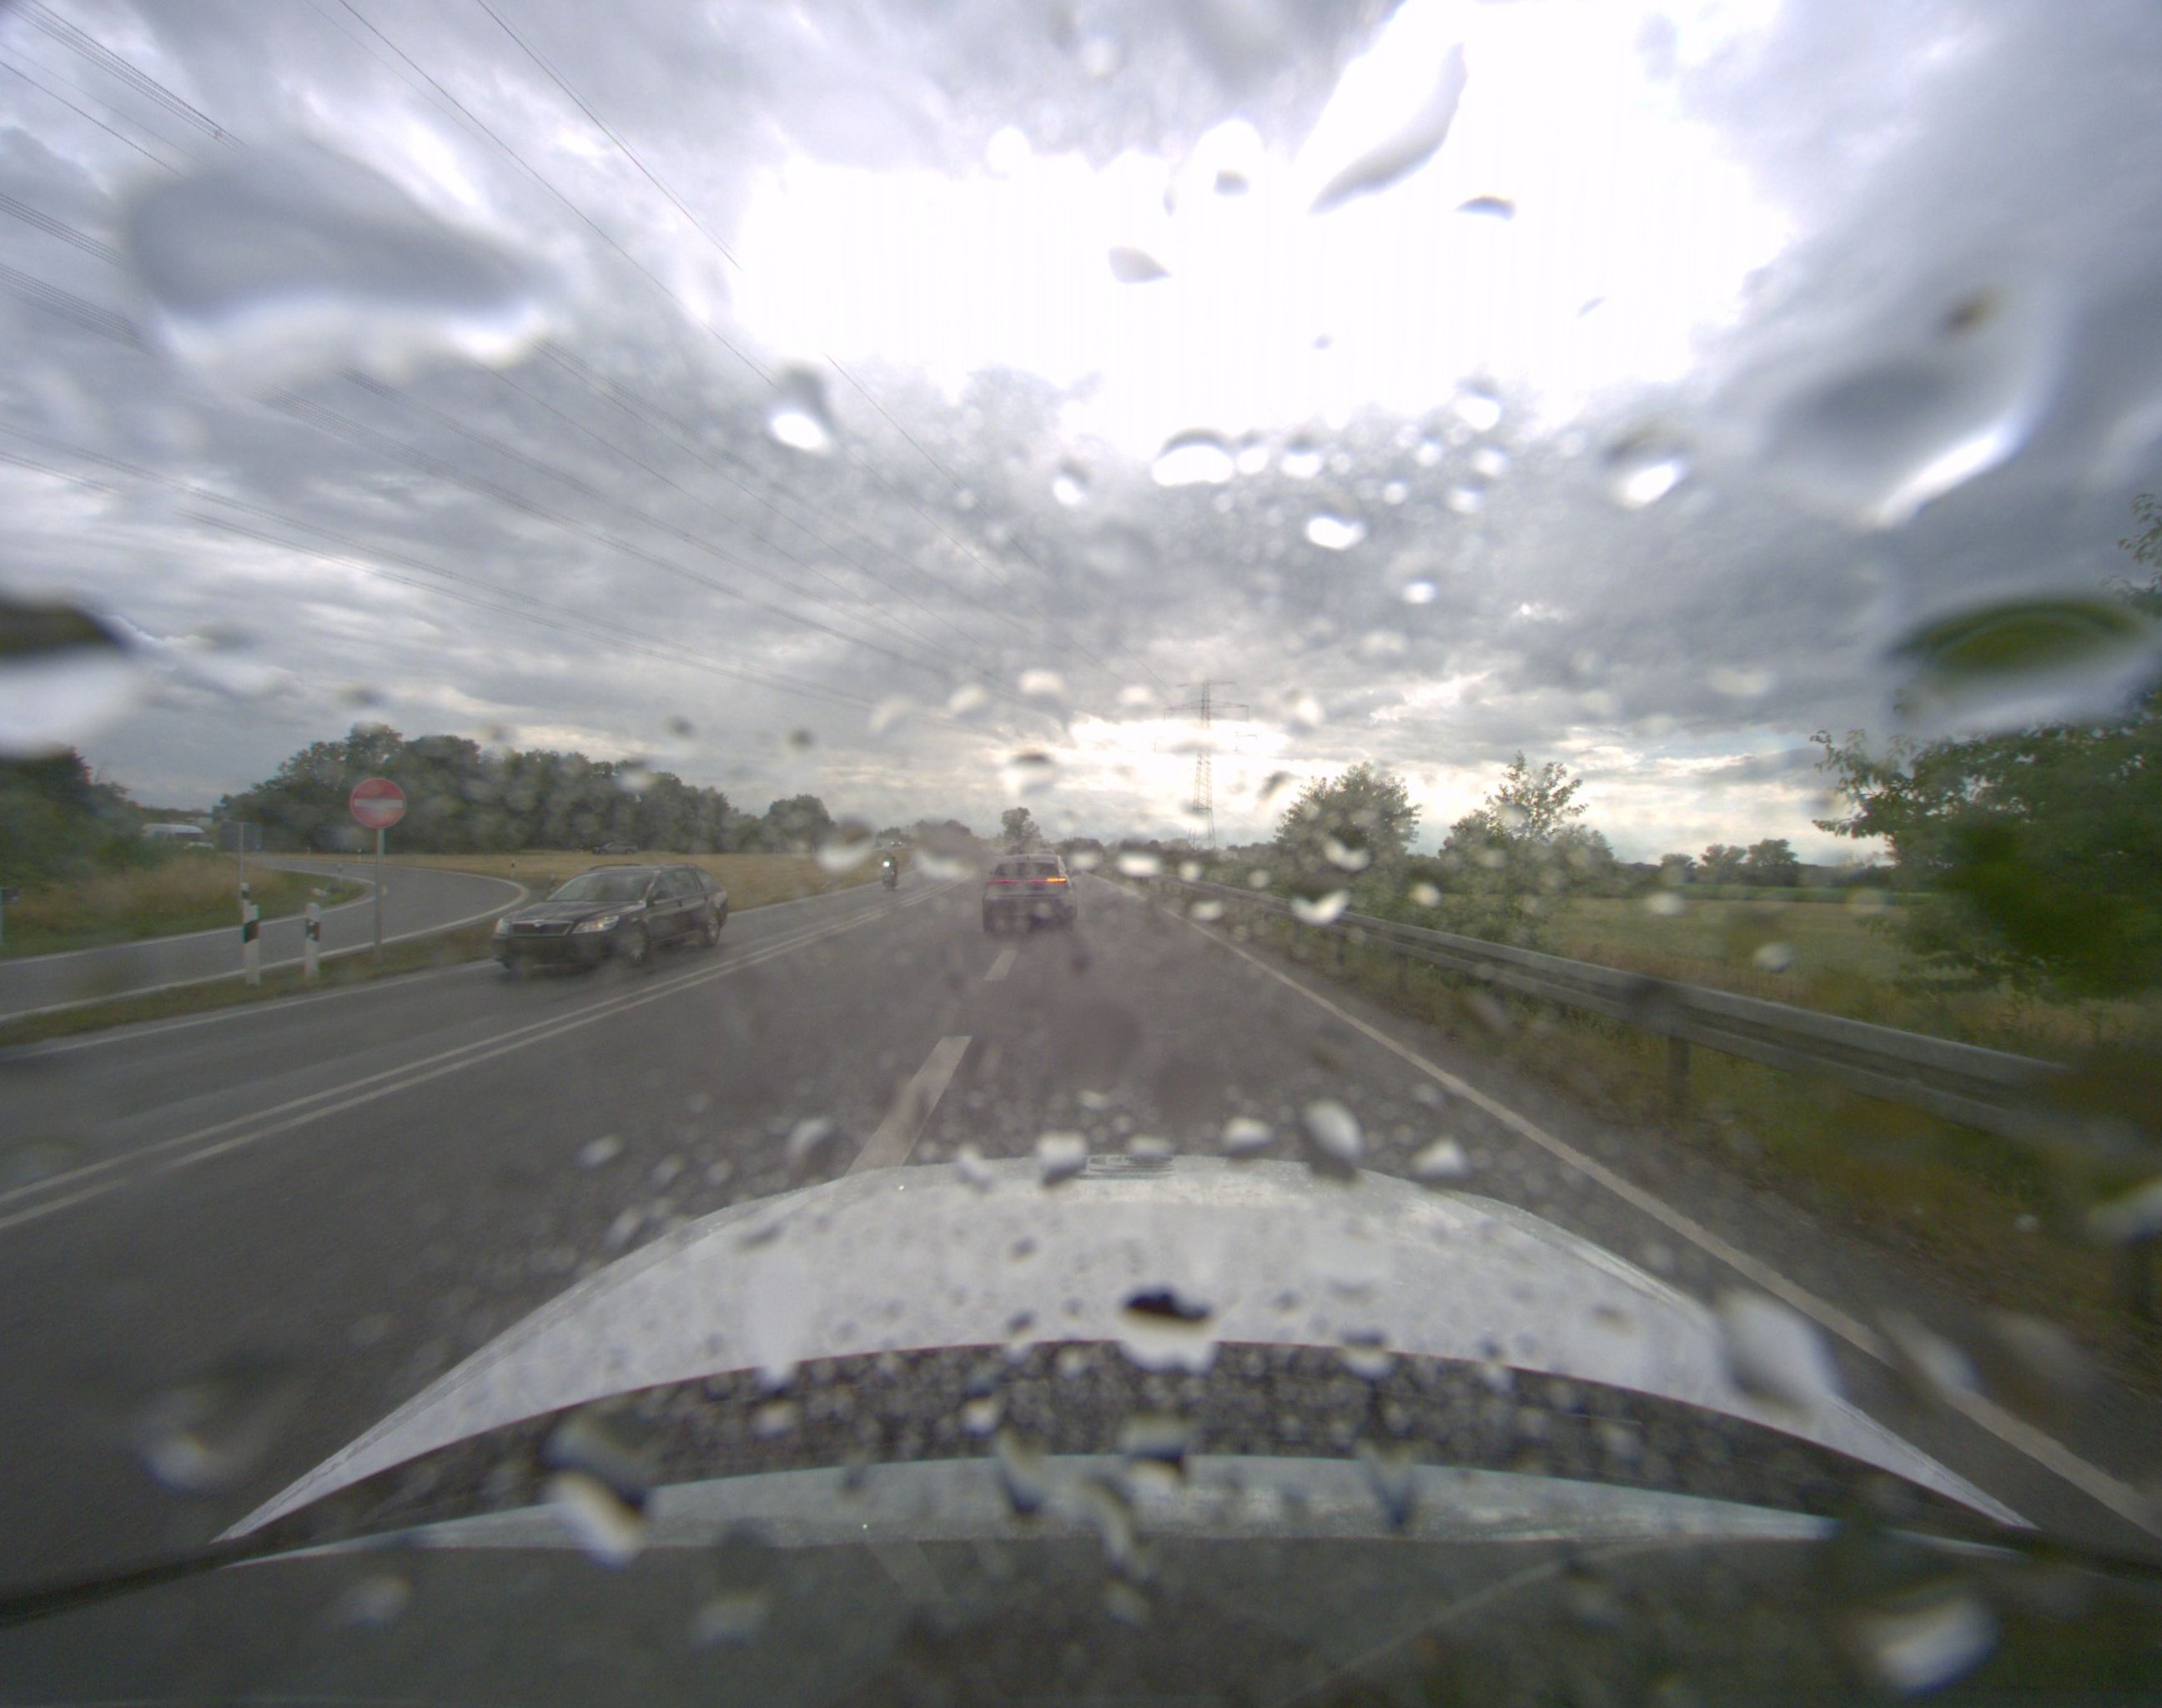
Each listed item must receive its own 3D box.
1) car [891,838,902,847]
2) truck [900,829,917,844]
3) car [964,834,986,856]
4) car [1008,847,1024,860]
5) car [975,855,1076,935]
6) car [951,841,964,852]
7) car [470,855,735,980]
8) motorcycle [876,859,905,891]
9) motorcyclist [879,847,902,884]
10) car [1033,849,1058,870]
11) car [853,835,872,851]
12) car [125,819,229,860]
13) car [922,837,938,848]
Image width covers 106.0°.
[{"bbox_3d":[-35.314,-2.235,155.927,1.983,1.603,3.900,1,0,-12],"label":"car"},{"bbox_3d":[-41.432,-4.100,195.591,3.056,3.385,7.592,0,-1,-20],"label":"truck"},{"bbox_3d":[-14.264,-1.139,109.241,2.572,2.725,7.174,-2,0,-9],"label":"car"},{"bbox_3d":[-7.873,-0.041,98.679,1.789,1.541,3.991,-1,-1,-6],"label":"car"},{"bbox_3d":[-1.046,0.769,17.141,1.785,1.441,4.000,0,0,0],"label":"car"},{"bbox_3d":[-20.135,-1.248,132.286,1.793,1.688,3.983,0,-1,-13],"label":"car"},{"bbox_3d":[-7.133,0.832,12.733,1.795,1.594,4.221,-1,0,-3],"label":"car"},{"bbox_3d":[-8.047,0.872,34.504,0.800,1.238,2.183,0,1,-2],"label":"motorcycle"},{"bbox_3d":[-8.057,0.474,34.538,0.800,1.535,0.824,0,0,-3],"label":"motorcyclist"},{"bbox_3d":[-2.654,0.394,60.246,1.788,1.441,3.995,-2,0,-3],"label":"car"},{"bbox_3d":[-35.666,-1.785,132.932,2.433,2.391,5.453,0,0,-9],"label":"car"},{"bbox_3d":[-69.323,-1.100,62.513,5.967,2.750,2.219,2,-2,8],"label":"car"},{"bbox_3d":[-31.793,-2.384,171.338,2.611,2.250,5.497,0,-1,-20],"label":"car"}]
